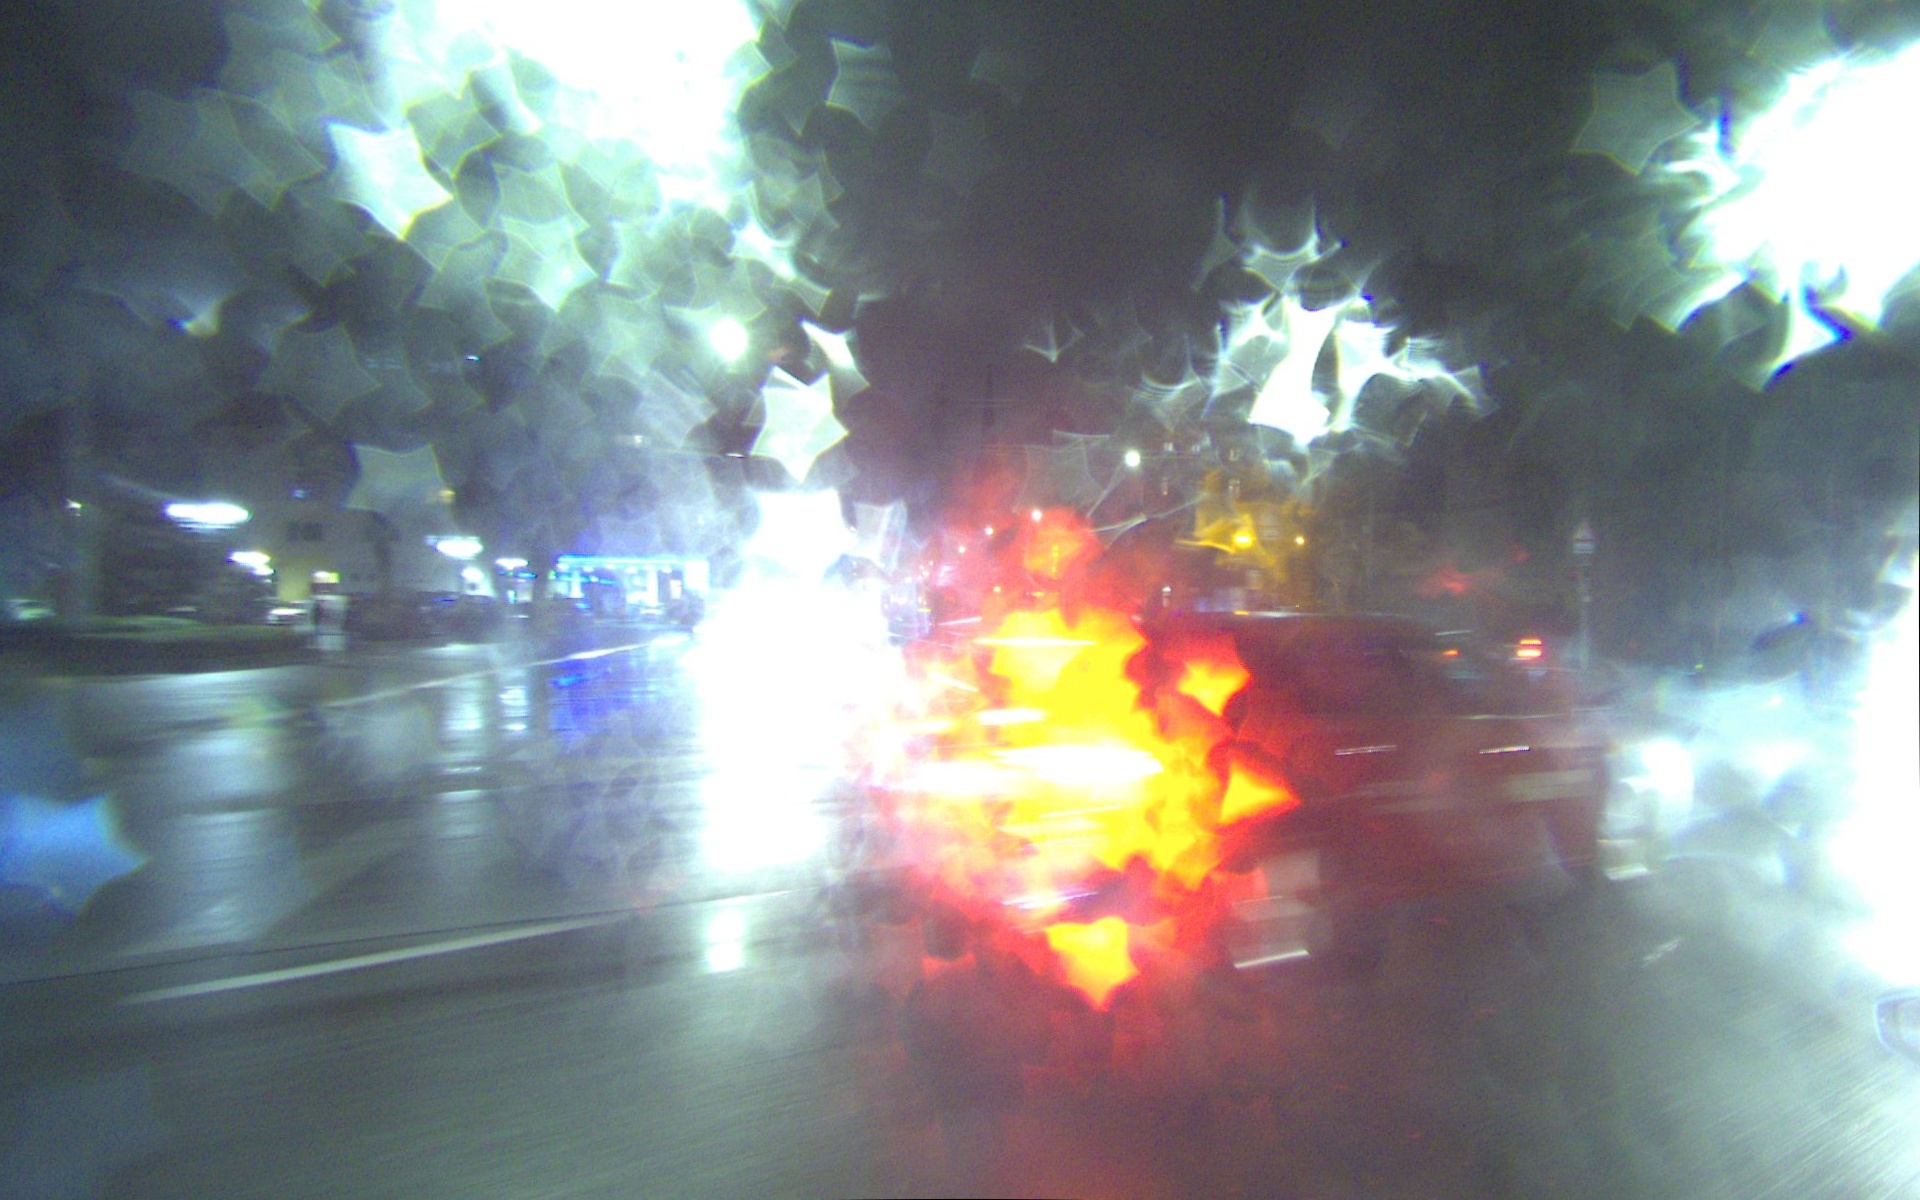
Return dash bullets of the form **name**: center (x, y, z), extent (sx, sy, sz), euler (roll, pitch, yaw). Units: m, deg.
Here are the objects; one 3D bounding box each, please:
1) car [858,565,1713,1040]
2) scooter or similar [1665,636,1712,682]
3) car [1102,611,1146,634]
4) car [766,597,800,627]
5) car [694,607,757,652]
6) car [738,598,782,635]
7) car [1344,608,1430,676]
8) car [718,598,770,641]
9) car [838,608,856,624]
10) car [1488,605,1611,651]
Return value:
- **car**: center (1.952, 0.693, 5.350), extent (4.675, 1.563, 1.807), euler (1, 0, -33)
- **scooter or similar**: center (20.897, 1.683, 28.821), extent (1.060, 1.256, 0.285), euler (1, 0, 32)
- **car**: center (13.042, 1.748, 80.136), extent (2.051, 1.804, 4.325), euler (0, 0, -11)
- **car**: center (-10.999, 0.729, 62.615), extent (1.863, 1.766, 4.734), euler (0, 0, -8)
- **car**: center (-8.735, 1.056, 37.732), extent (1.863, 1.590, 4.328), euler (0, 0, -8)
- **car**: center (-9.914, 0.808, 50.019), extent (1.863, 1.766, 4.734), euler (0, 0, -8)
- **car**: center (12.293, 1.144, 29.155), extent (1.860, 1.804, 4.334), euler (0, 0, 18)
- **car**: center (-9.454, 0.836, 44.293), extent (1.863, 1.766, 4.734), euler (0, 0, -8)
- **car**: center (-12.798, 1.811, 113.702), extent (1.863, 1.766, 4.734), euler (0, -1, -8)
- **car**: center (23.948, 1.100, 40.889), extent (4.114, 1.724, 1.701), euler (-1, 0, -6)
